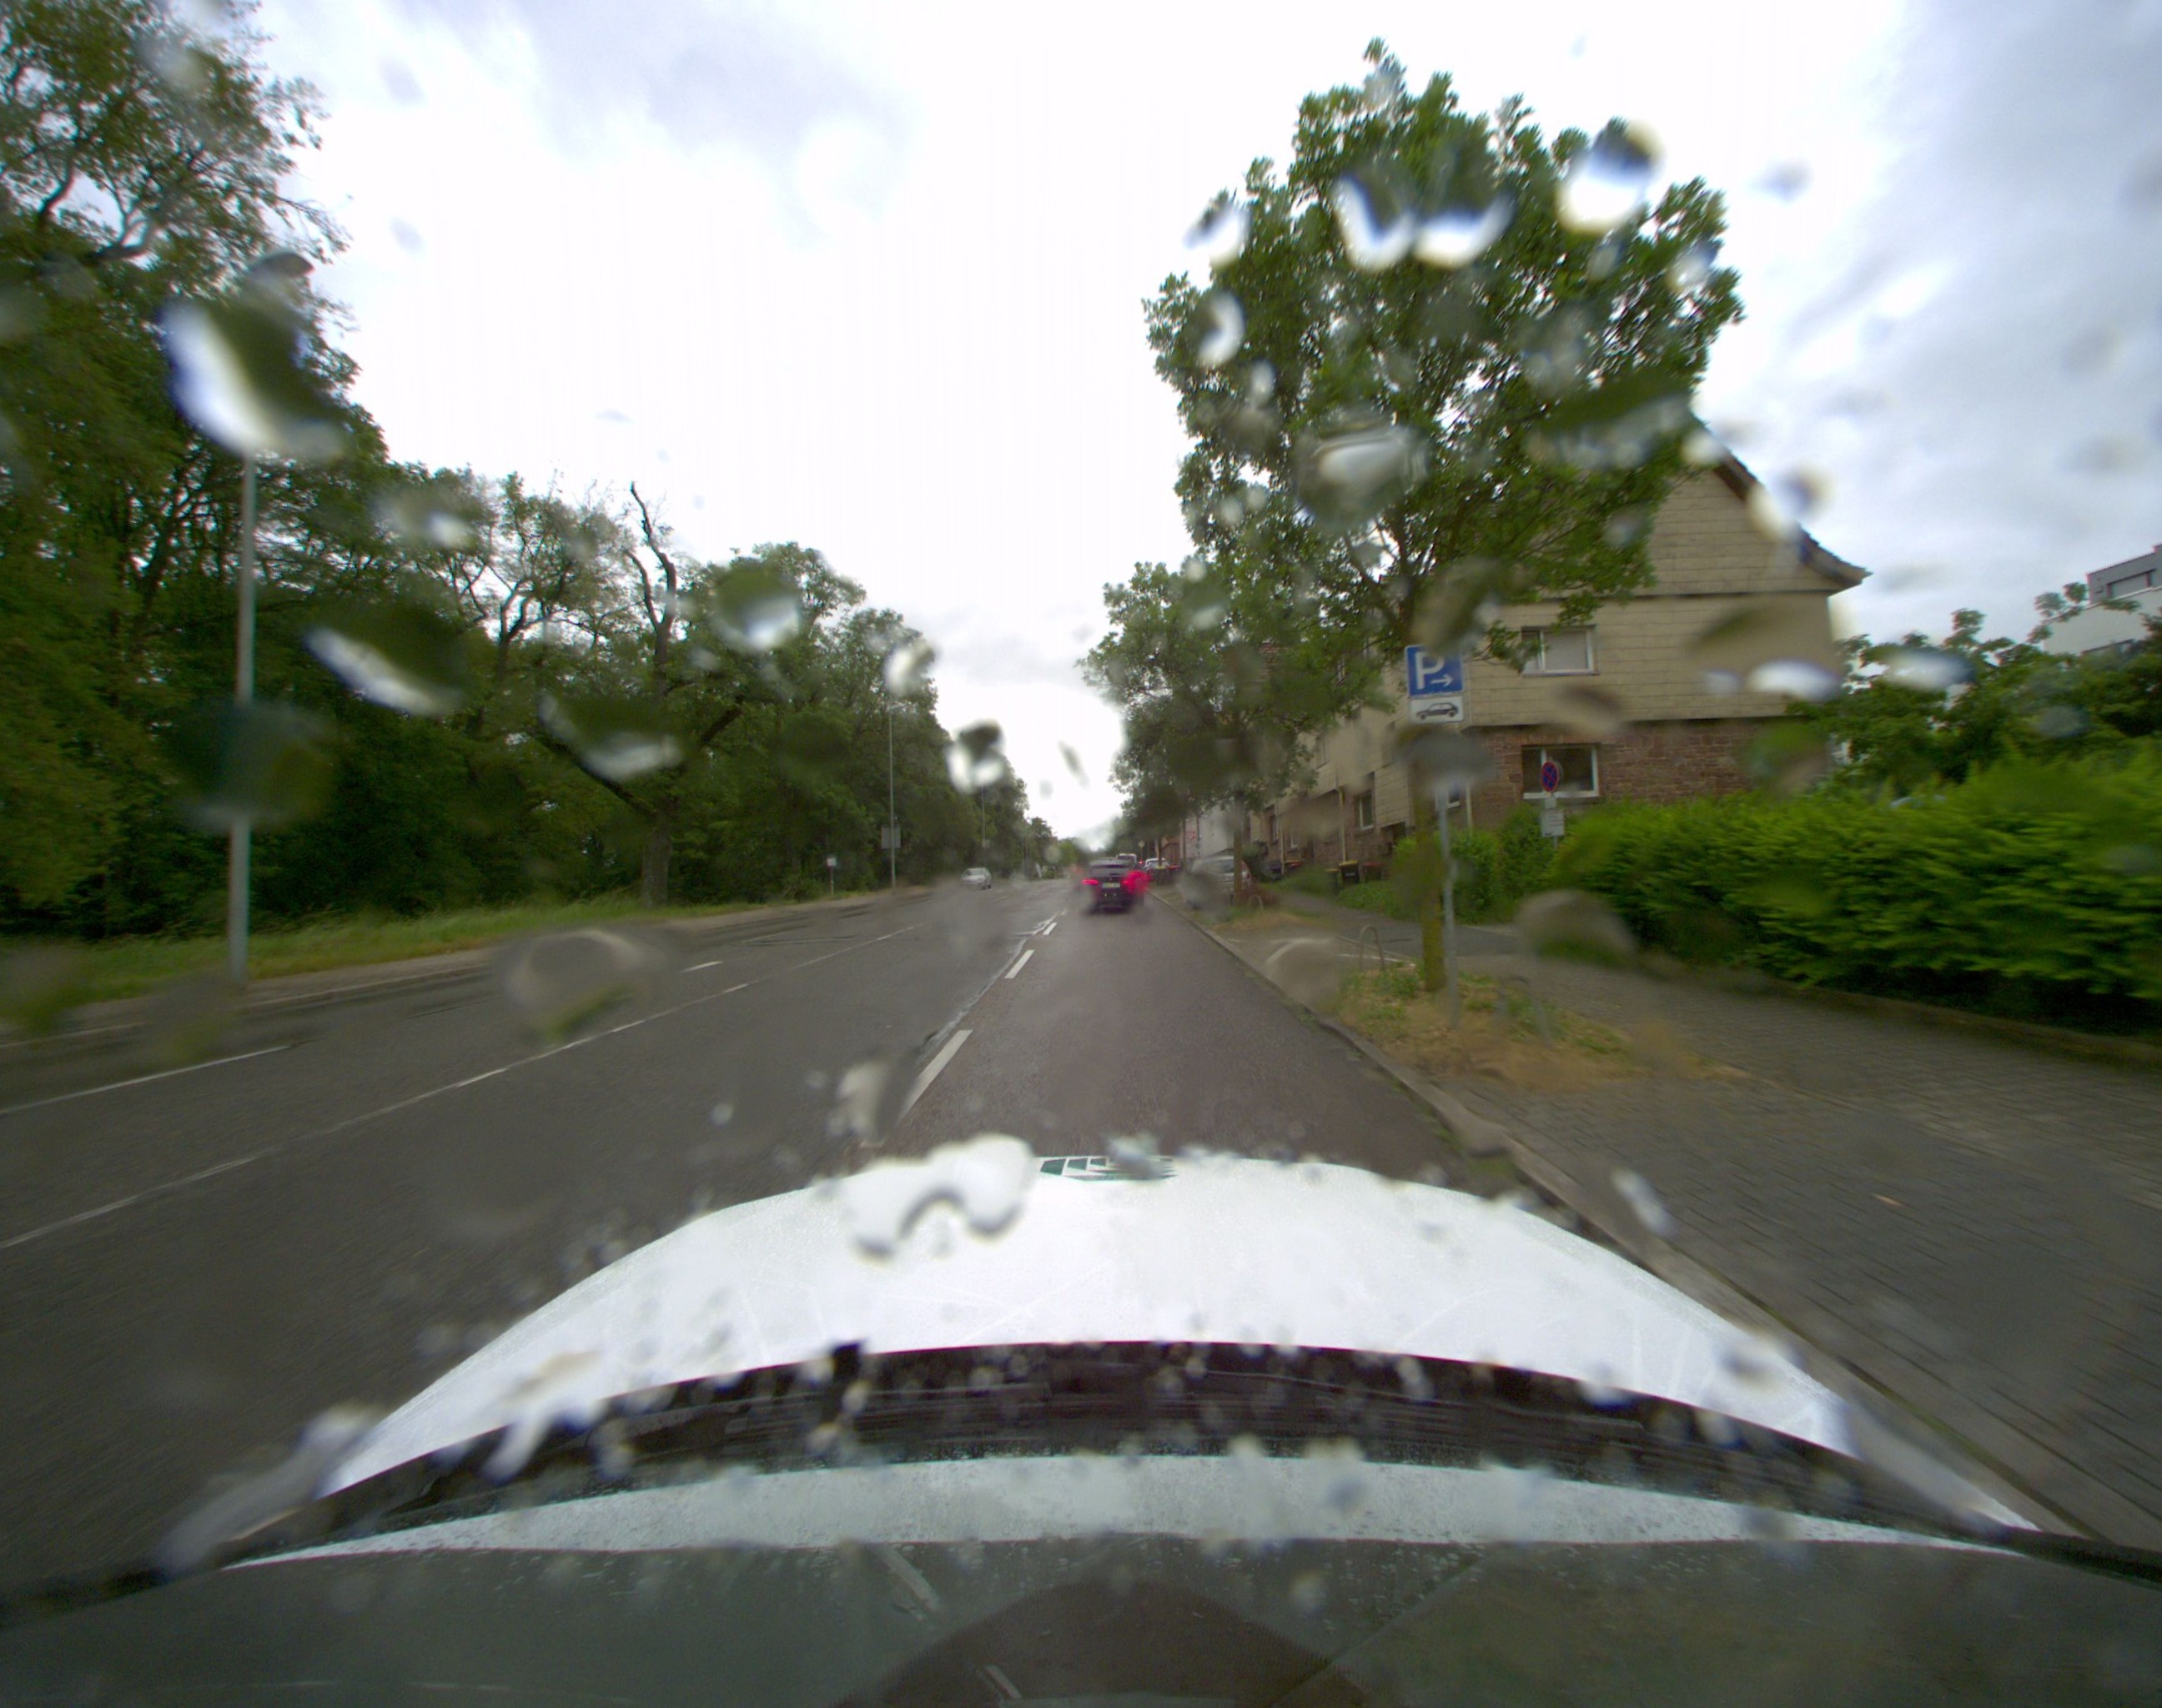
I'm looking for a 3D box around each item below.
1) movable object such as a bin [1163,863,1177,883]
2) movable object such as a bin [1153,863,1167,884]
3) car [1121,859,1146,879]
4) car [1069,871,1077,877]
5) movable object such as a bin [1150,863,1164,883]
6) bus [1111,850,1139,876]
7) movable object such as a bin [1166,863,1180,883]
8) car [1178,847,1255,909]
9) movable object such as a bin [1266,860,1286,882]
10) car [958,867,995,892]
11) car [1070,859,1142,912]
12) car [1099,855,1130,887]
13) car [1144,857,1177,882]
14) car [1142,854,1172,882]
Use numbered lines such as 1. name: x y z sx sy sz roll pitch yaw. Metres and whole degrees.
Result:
1. movable object such as a bin: 5.013 1.064 45.990 0.617 1.050 0.822 -4 0 -1
2. movable object such as a bin: 4.372 1.075 45.098 0.617 1.050 0.822 -4 0 -1
3. car: 5.662 1.610 87.619 1.915 1.892 4.774 -6 -2 10
4. car: -1.955 4.949 201.654 1.763 1.533 4.002 -3 -1 2
5. movable object such as a bin: 4.277 1.073 45.999 0.617 1.050 0.822 -4 0 -1
6. bus: 5.438 1.098 99.157 2.609 2.847 8.306 -3 -1 7
7. movable object such as a bin: 5.100 1.066 45.065 0.617 1.050 0.822 -4 0 -1
8. car: 4.080 0.672 25.186 1.695 1.584 4.646 -6 0 3
9. movable object such as a bin: 8.646 0.736 36.133 0.697 0.965 0.942 -1 0 2
10. car: -6.997 1.695 54.912 1.684 1.483 4.452 -4 -1 1
11. car: 0.745 0.892 24.492 1.986 1.453 4.001 0 -1 1
12. car: 2.224 1.094 54.346 1.986 2.014 4.002 -2 -1 2
13. car: 4.905 0.975 50.789 1.636 1.449 3.998 -2 -1 0
14. car: 5.212 0.934 56.404 1.817 1.772 4.544 -3 -1 3
